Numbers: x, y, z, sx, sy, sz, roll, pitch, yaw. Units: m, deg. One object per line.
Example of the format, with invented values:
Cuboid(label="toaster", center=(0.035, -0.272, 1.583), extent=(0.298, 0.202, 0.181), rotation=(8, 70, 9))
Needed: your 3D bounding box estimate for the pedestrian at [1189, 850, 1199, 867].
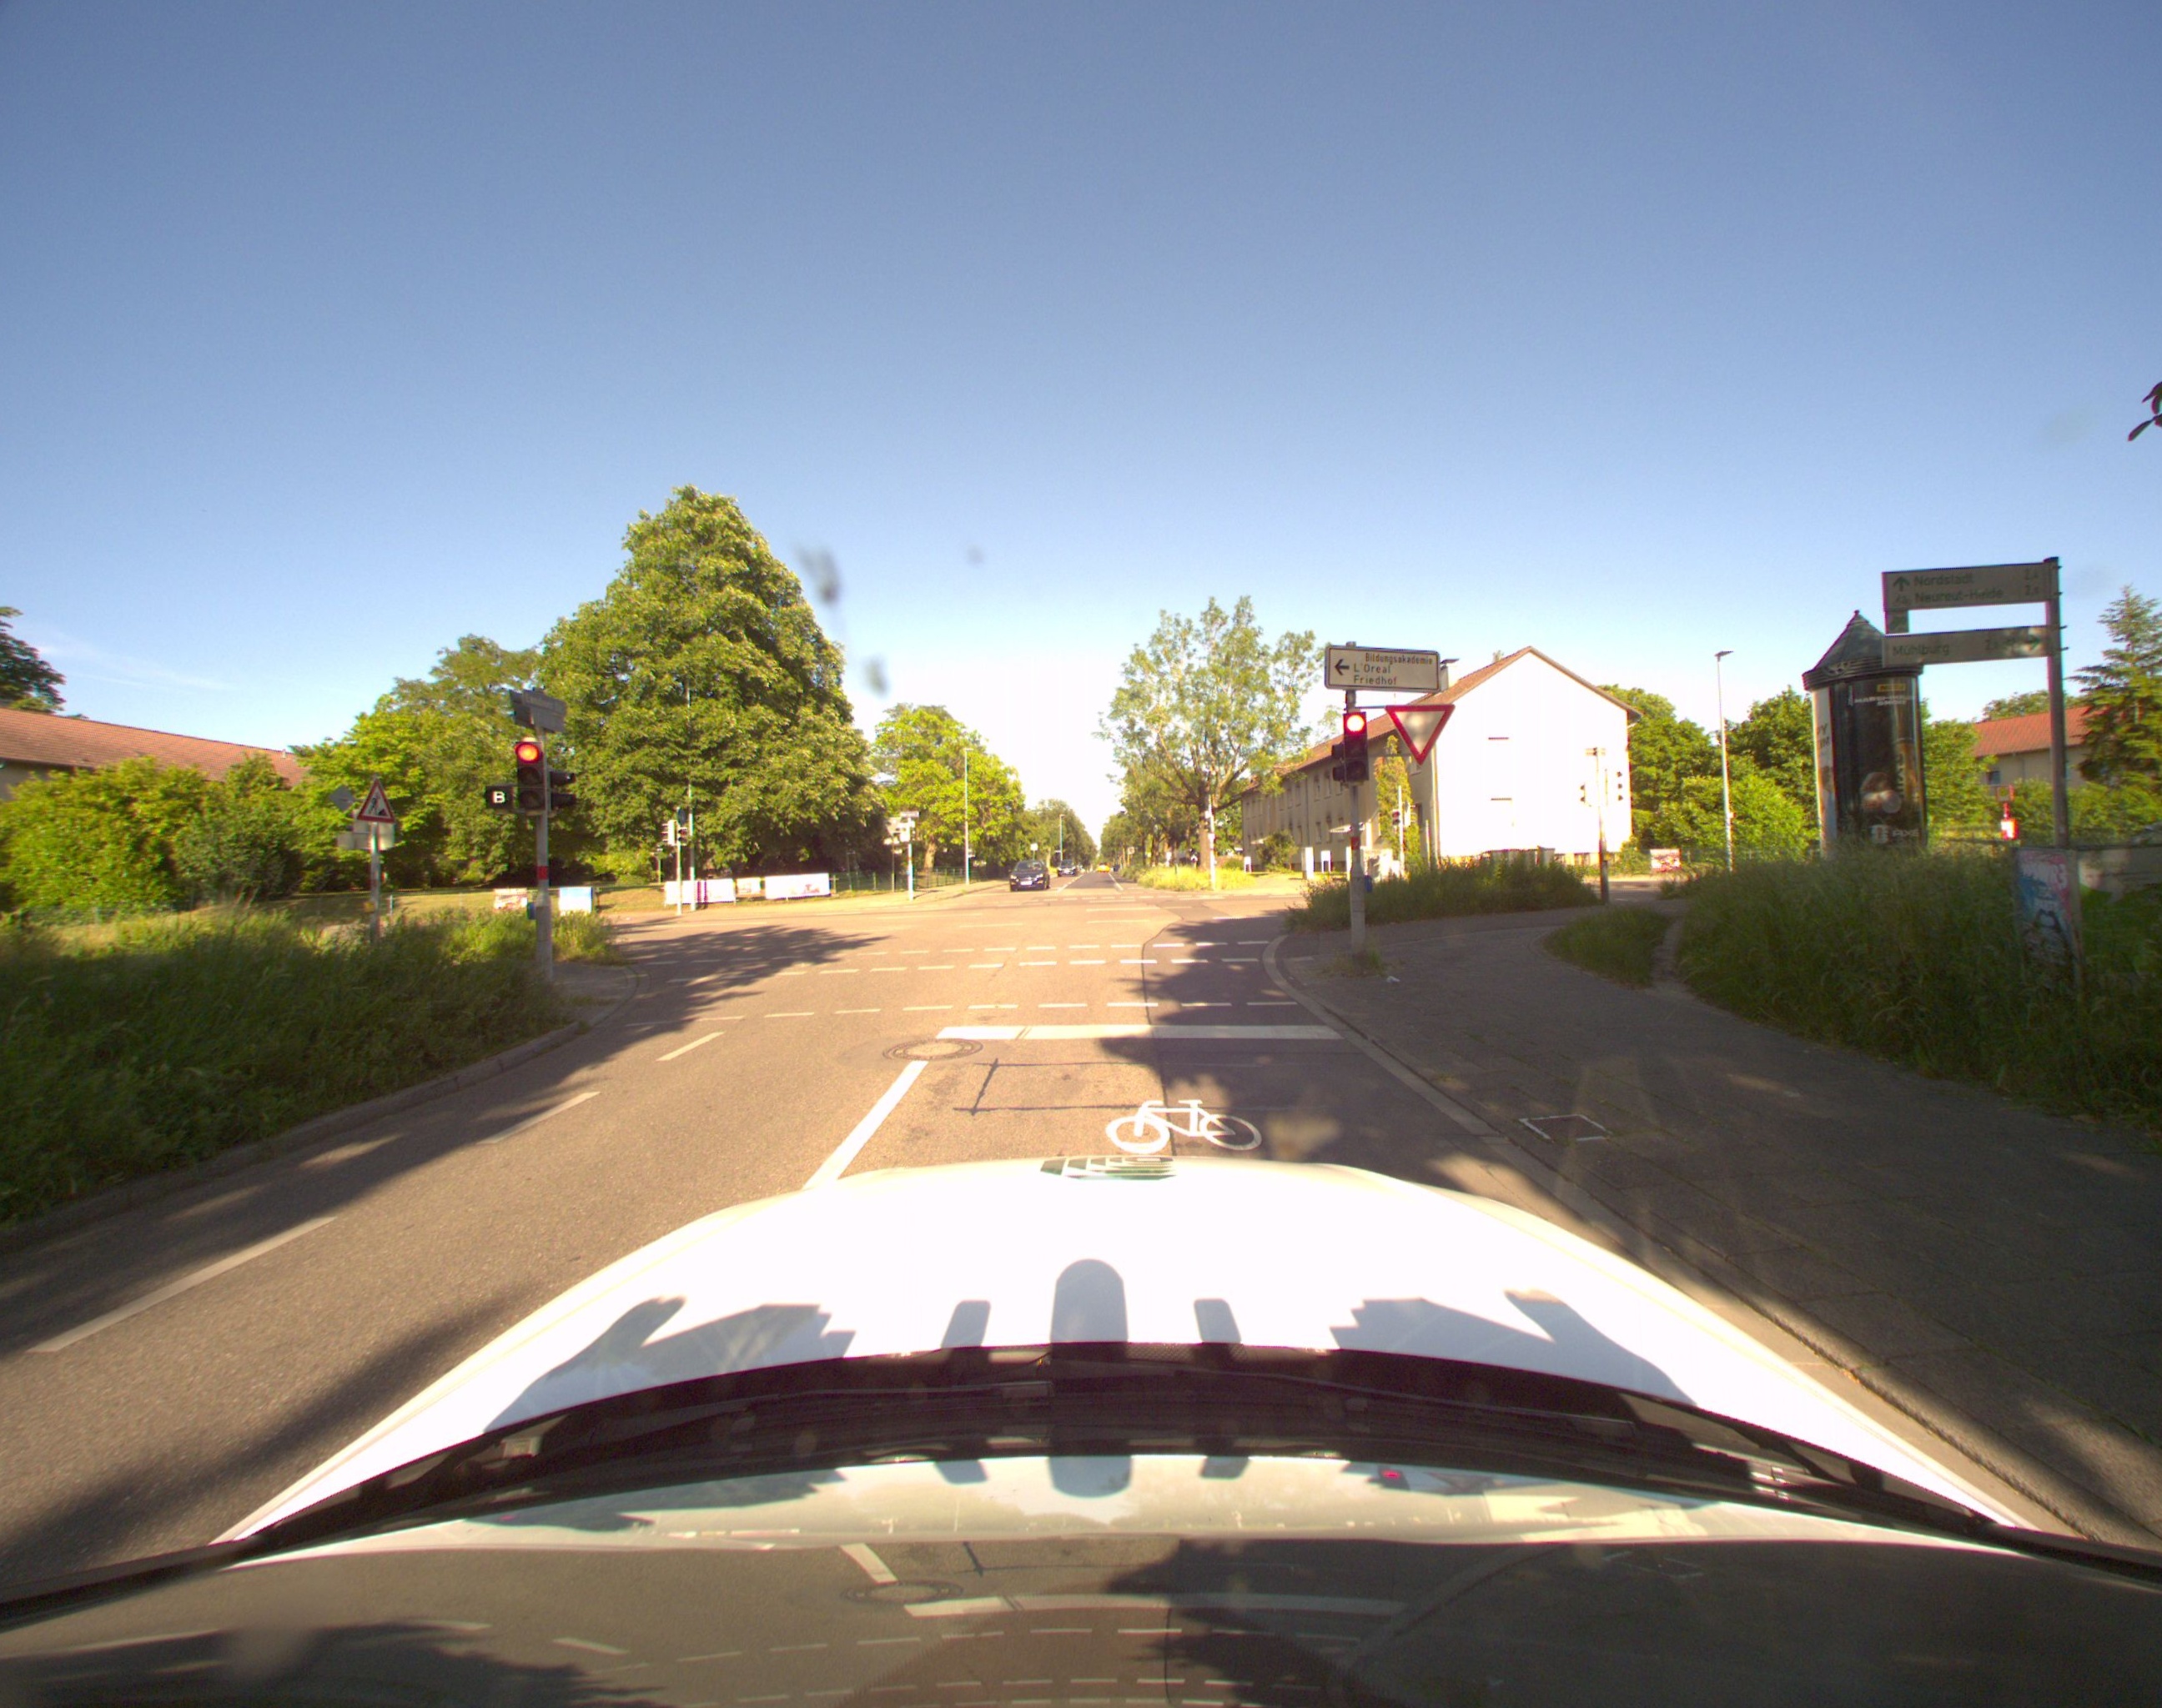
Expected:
Cuboid(label="pedestrian", center=(10.603, 0.424, 76.187), extent=(0.839, 1.493, 0.924), rotation=(1, 0, 1))

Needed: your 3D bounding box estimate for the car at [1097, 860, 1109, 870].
Cuboid(label="car", center=(3.244, 1.653, 122.031), extent=(1.745, 1.582, 4.002), rotation=(-1, -1, 2))

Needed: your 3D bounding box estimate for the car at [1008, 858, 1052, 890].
Cuboid(label="car", center=(-2.378, 0.919, 38.809), extent=(1.704, 1.385, 3.473), rotation=(-2, 0, 3))

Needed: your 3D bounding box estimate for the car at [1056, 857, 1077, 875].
Cuboid(label="car", center=(-1.339, 1.170, 78.526), extent=(1.751, 1.624, 3.271), rotation=(-2, 0, 3))
